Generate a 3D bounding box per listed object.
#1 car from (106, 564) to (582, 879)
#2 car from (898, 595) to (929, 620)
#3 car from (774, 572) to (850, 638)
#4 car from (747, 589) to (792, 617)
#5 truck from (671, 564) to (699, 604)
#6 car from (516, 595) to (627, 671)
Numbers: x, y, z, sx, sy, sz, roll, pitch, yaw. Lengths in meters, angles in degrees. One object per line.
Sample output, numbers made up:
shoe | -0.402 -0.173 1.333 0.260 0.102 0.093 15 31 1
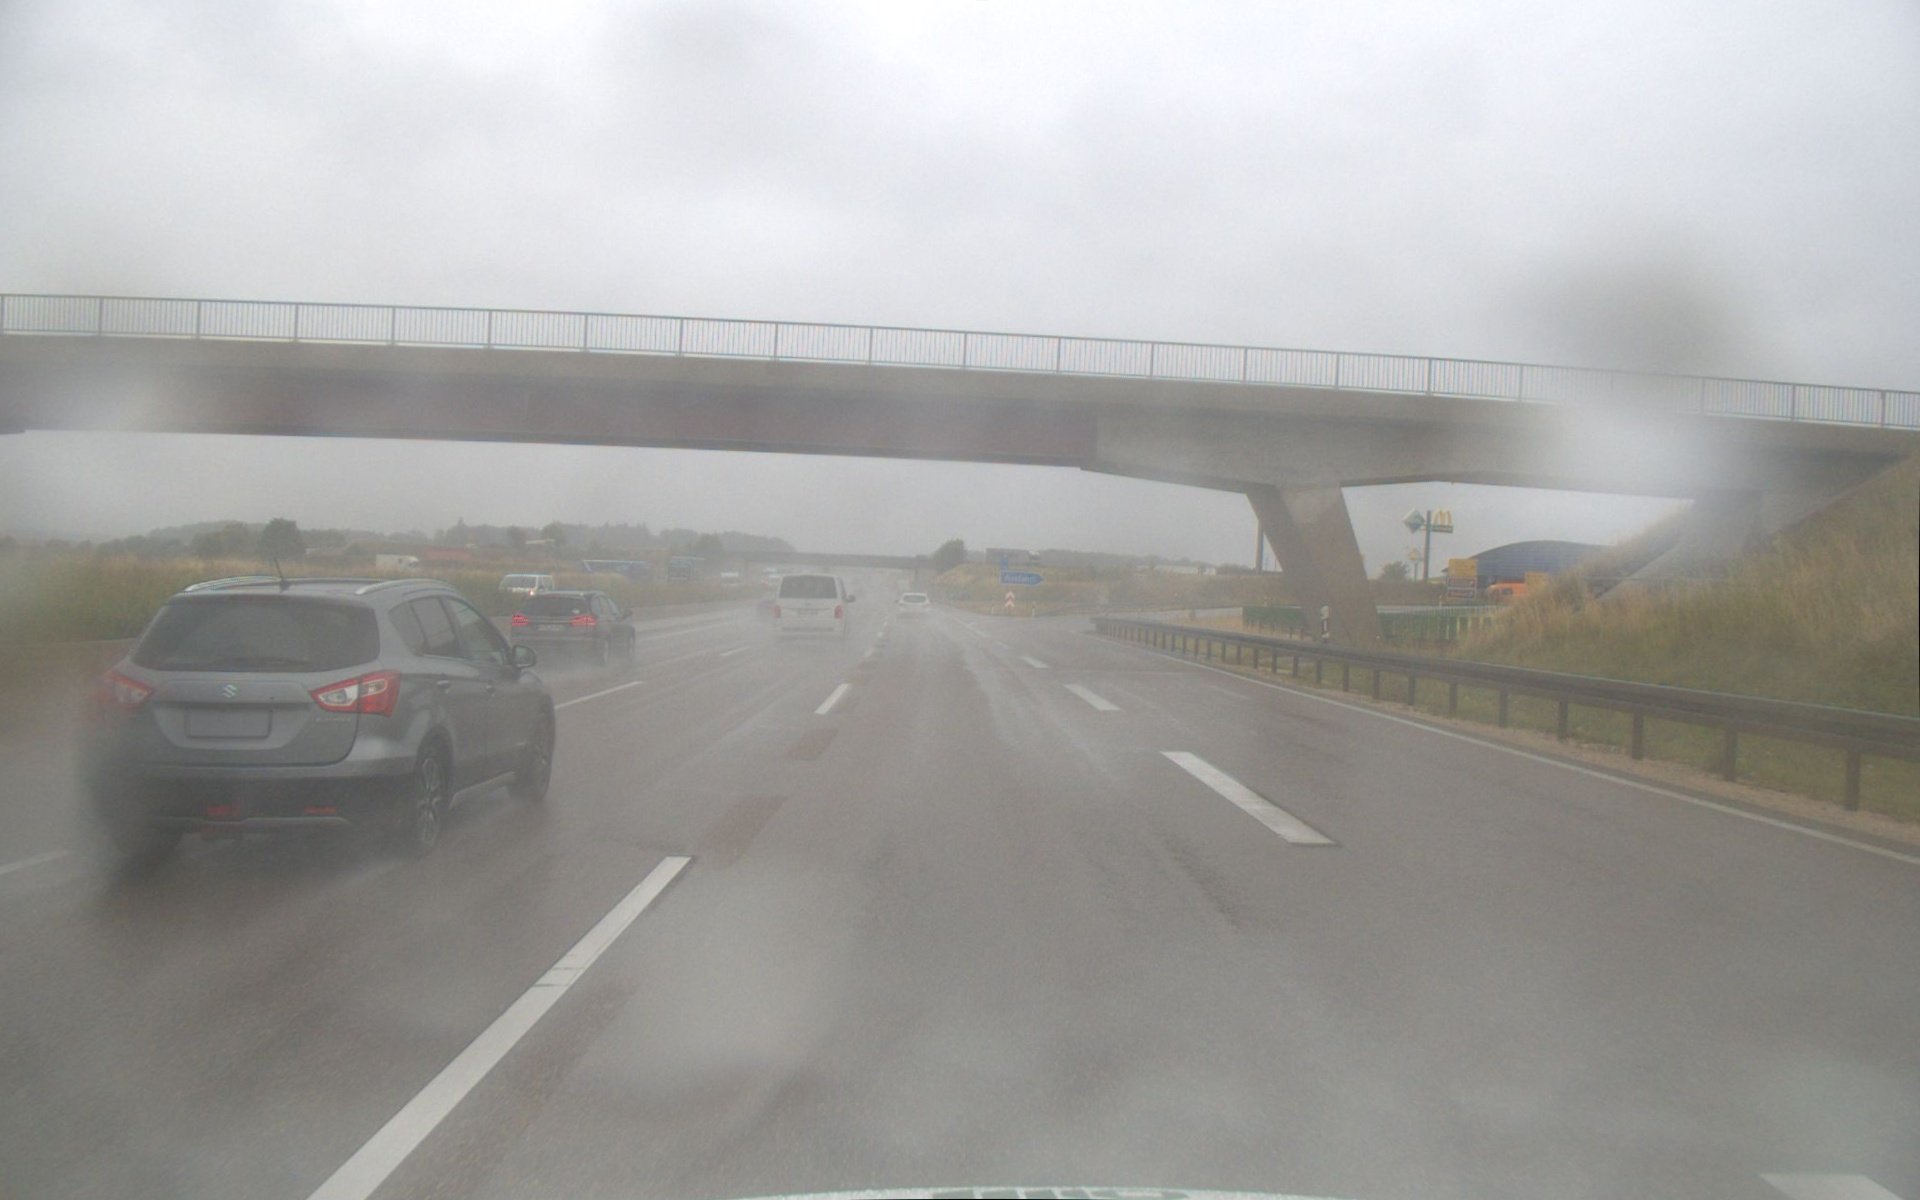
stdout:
car | -3.577 0.593 10.562 1.811 1.539 4.748 1 0 -8
car | -2.297 0.367 83.070 1.438 1.229 2.991 1 0 0
car | -3.900 0.133 44.066 1.860 1.613 3.997 2 0 -4
car | -8.906 0.149 77.605 1.437 1.279 3.342 1 0 5
truck | -28.549 -1.648 171.767 2.169 4.053 5.182 1 0 -2
car | -7.577 0.601 32.562 1.581 1.378 3.995 1 0 -6
